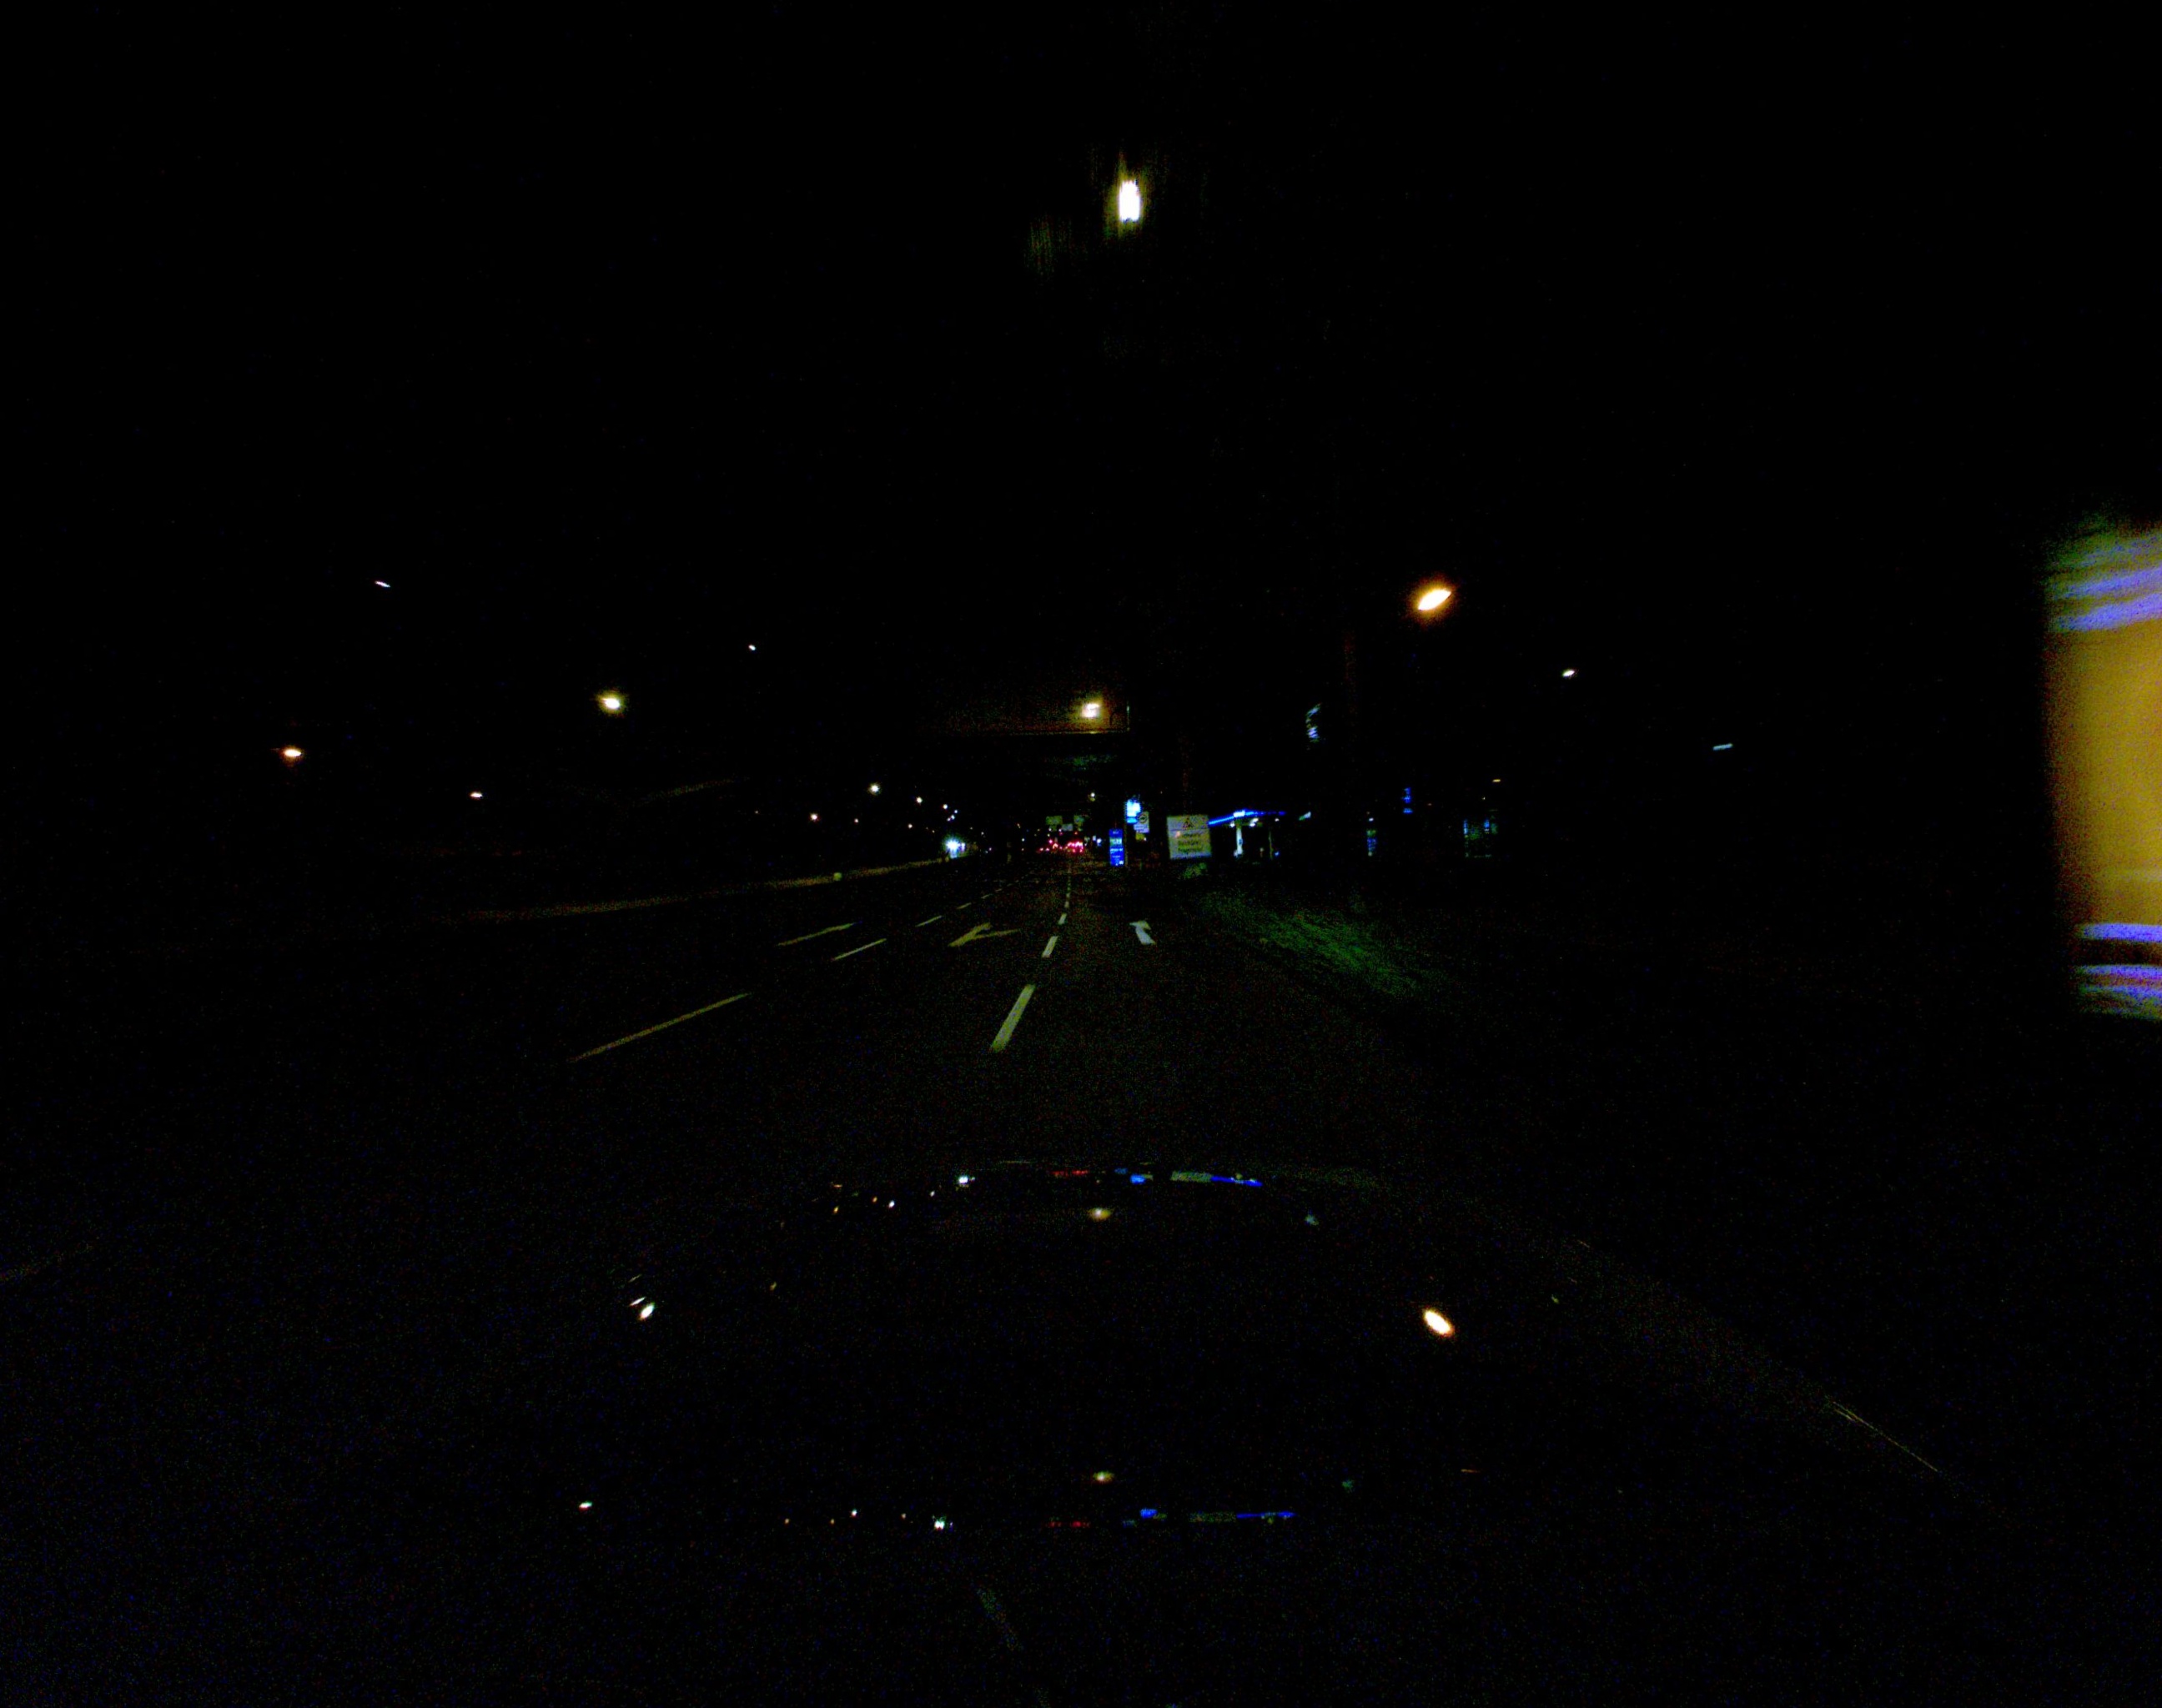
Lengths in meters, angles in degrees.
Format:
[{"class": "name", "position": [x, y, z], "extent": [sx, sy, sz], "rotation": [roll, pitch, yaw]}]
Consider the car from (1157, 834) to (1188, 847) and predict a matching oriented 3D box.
[{"class": "car", "position": [13.015, -1.940, 115.646], "extent": [4.105, 1.522, 1.822], "rotation": [-3, -1, 0]}]

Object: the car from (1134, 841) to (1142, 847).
[{"class": "car", "position": [13.972, -2.399, 200.096], "extent": [1.883, 1.511, 3.642], "rotation": [0, -1, 6]}]

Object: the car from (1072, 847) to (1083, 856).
[{"class": "car", "position": [-0.631, -0.511, 160.024], "extent": [1.961, 1.711, 4.001], "rotation": [0, -1, 1]}]

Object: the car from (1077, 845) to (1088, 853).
[{"class": "car", "position": [0.473, -1.176, 207.153], "extent": [2.642, 2.014, 5.300], "rotation": [0, -1, 1]}]

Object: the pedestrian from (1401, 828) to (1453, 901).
[{"class": "pedestrian", "position": [8.339, 0.254, 19.657], "extent": [0.850, 1.707, 0.957], "rotation": [0, -1, 0]}]

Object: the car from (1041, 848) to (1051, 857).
[{"class": "car", "position": [-7.208, -0.251, 167.798], "extent": [1.961, 1.711, 4.001], "rotation": [0, -1, 1]}]

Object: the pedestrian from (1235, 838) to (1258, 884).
[{"class": "pedestrian", "position": [7.165, 0.292, 35.222], "extent": [0.800, 1.913, 0.795], "rotation": [-4, 0, 9]}]

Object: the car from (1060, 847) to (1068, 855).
[{"class": "car", "position": [-3.991, -0.729, 194.617], "extent": [1.776, 1.711, 4.001], "rotation": [0, -1, 1]}]

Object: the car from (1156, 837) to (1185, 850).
[{"class": "car", "position": [12.996, -1.562, 117.977], "extent": [3.974, 1.571, 1.738], "rotation": [-4, -1, 0]}]
